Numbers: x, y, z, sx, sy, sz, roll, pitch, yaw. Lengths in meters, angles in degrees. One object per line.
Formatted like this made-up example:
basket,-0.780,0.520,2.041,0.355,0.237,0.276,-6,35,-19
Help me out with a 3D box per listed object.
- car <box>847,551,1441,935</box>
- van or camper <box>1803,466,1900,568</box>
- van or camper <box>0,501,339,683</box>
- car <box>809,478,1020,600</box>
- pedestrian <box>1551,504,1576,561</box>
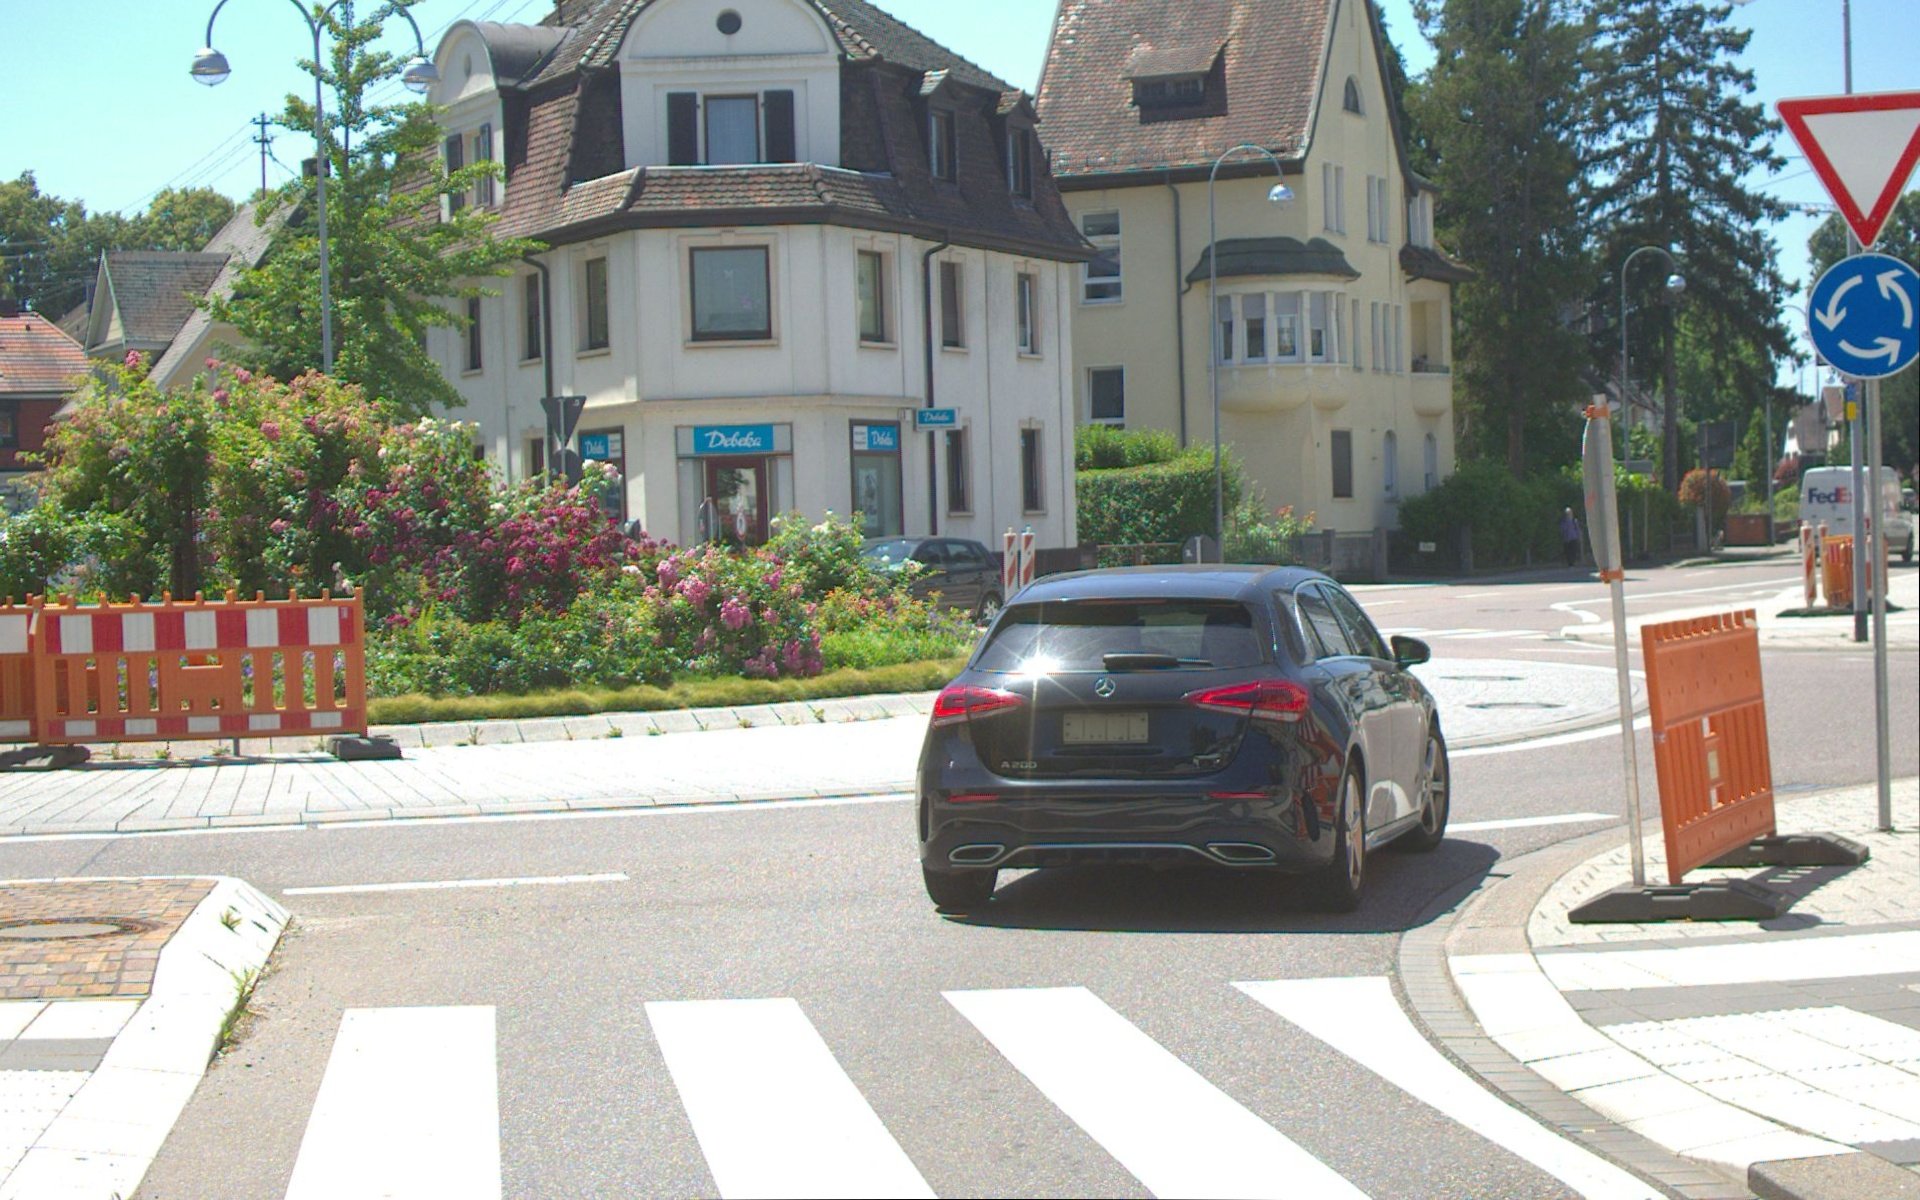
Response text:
car,0.968,0.525,15.299,1.954,1.422,3.998,0,1,13
van or camper,23.402,-2.169,90.146,2.207,2.601,3.997,-1,1,18
van or camper,-10.673,-0.139,43.132,5.397,2.164,1.999,-1,2,-40
car,-0.636,-0.924,52.098,1.922,1.766,3.996,1,1,19
pedestrian,16.117,-1.809,91.854,0.523,1.504,0.472,-1,1,26
